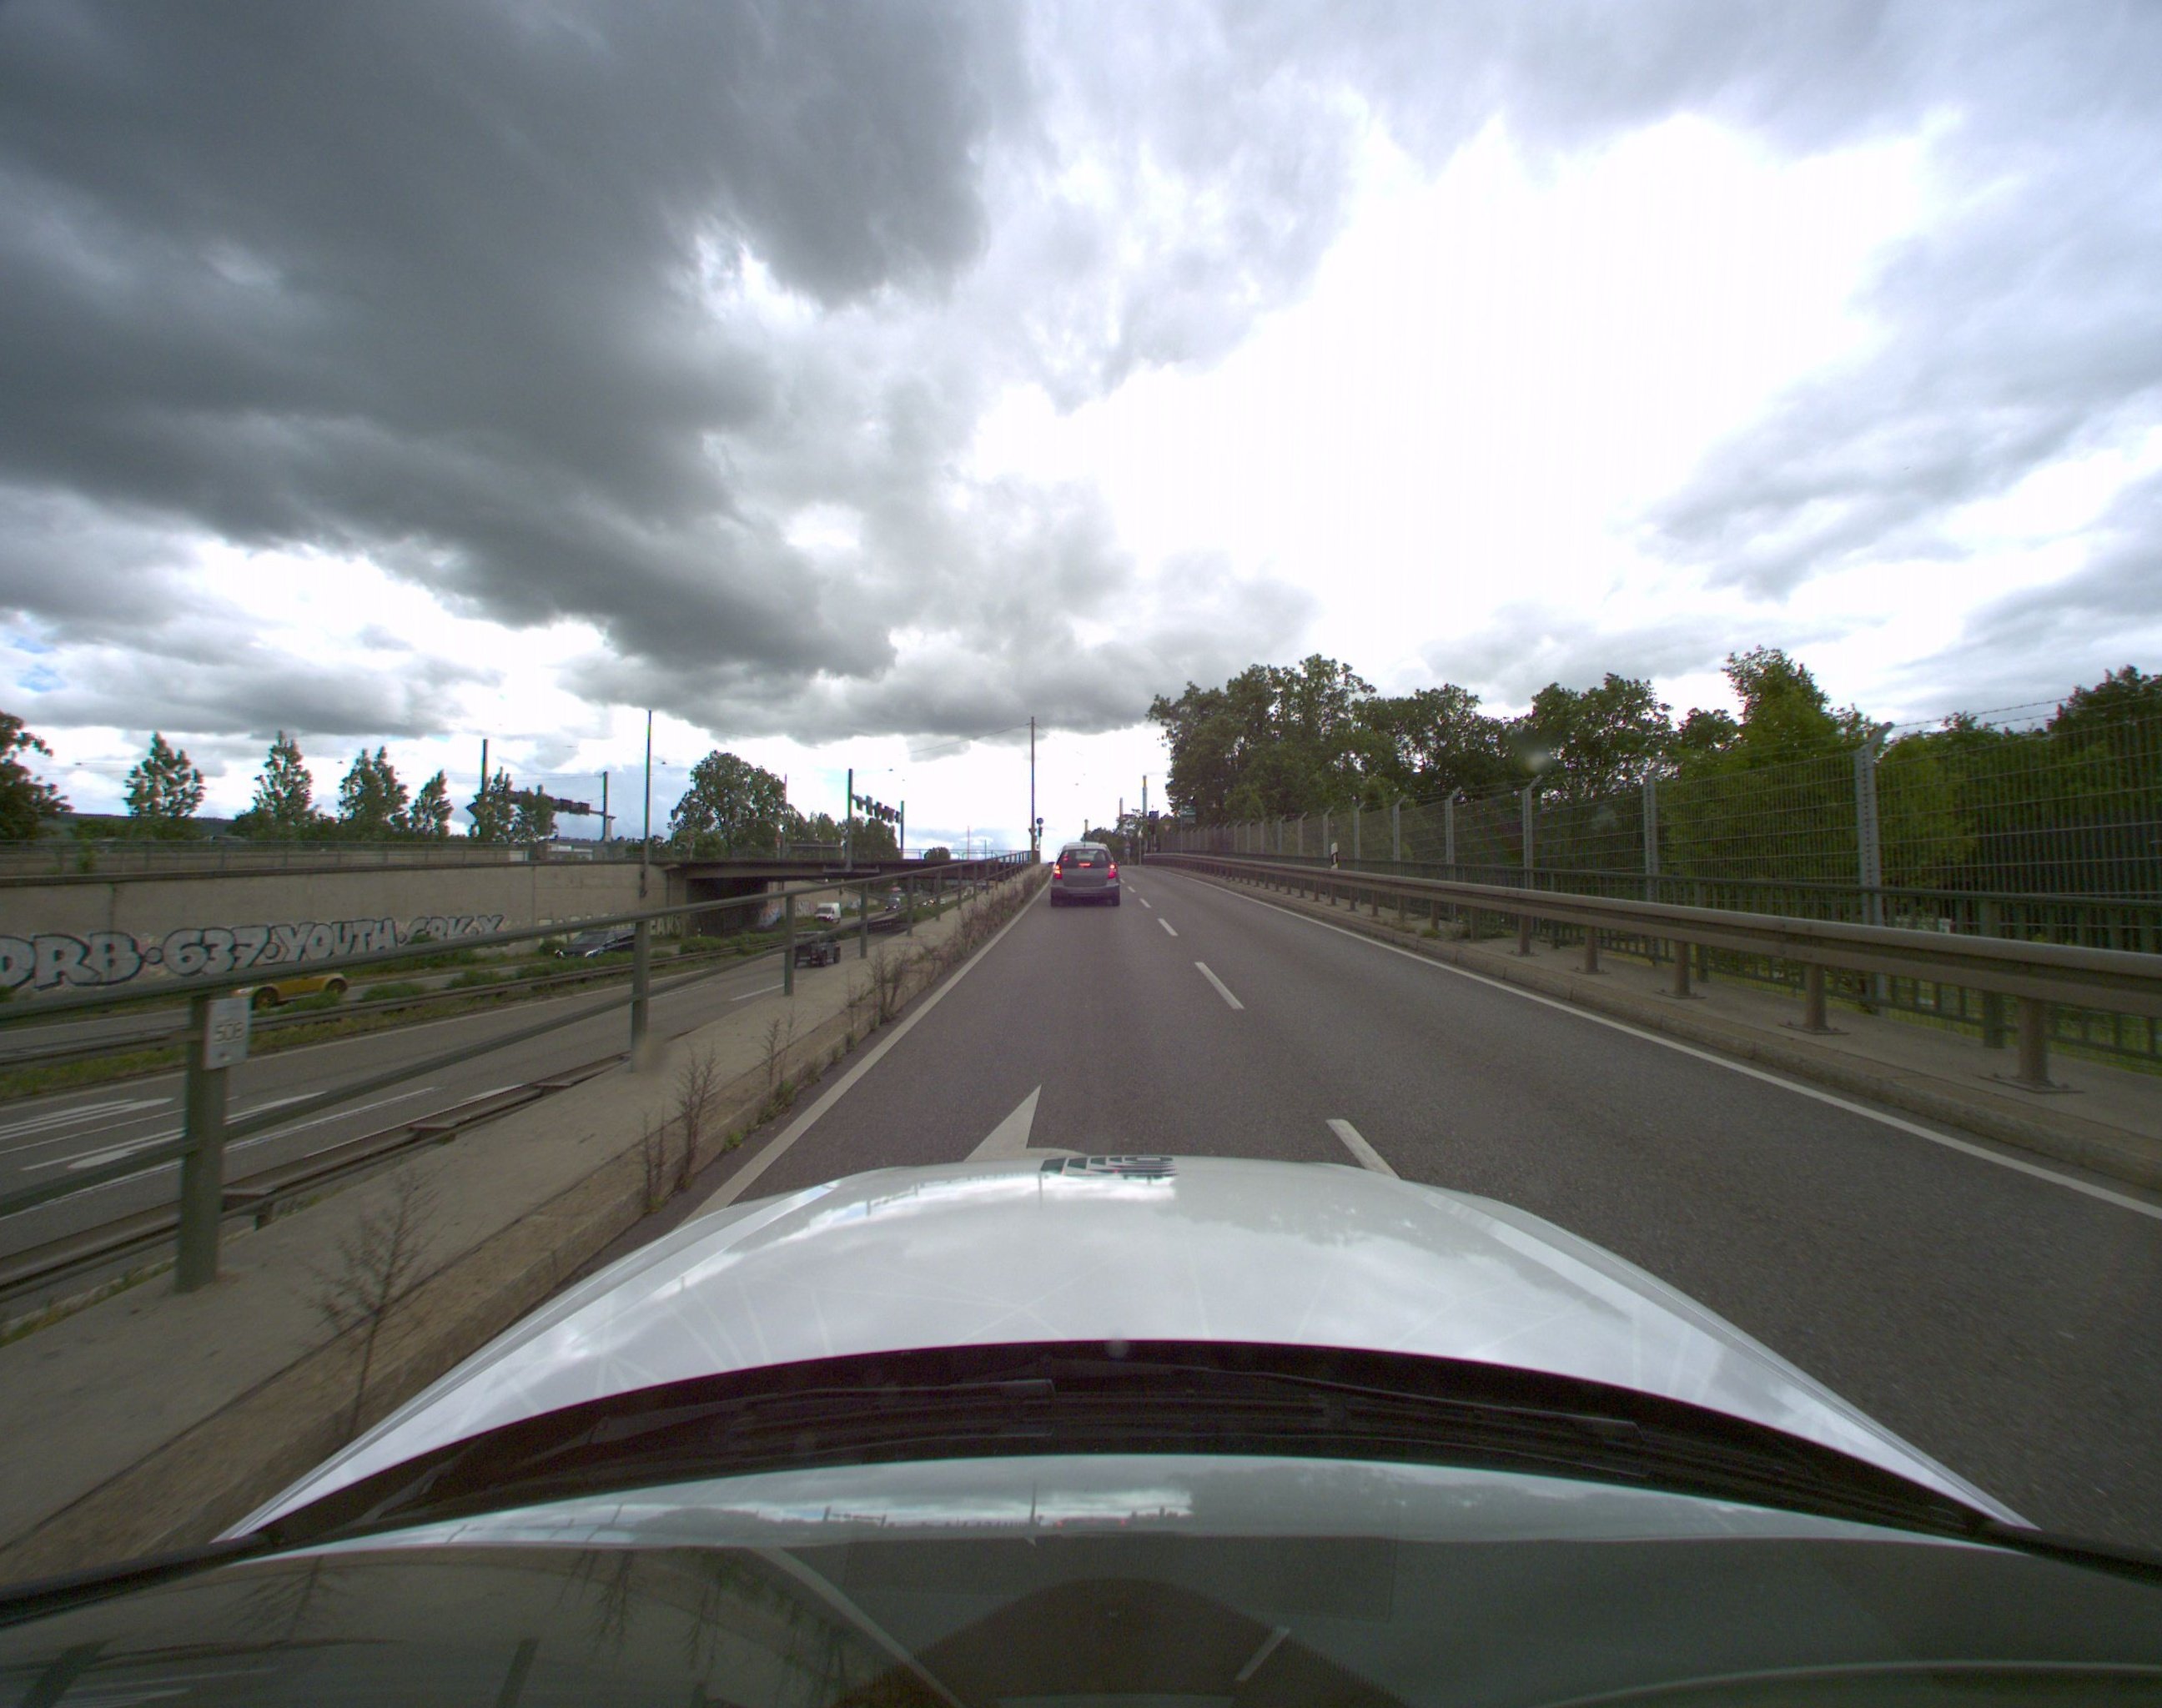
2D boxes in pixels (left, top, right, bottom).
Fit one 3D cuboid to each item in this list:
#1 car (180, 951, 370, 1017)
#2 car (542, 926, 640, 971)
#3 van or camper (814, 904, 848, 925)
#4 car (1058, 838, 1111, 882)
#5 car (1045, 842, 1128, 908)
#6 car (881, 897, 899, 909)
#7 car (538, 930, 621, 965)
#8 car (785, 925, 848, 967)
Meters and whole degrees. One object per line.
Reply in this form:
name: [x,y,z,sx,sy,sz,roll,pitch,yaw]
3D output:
car: [-28.358,4.519,28.936,1.987,1.720,4.702,-2,-2,0]
car: [-25.645,4.916,42.913,2.086,1.989,5.112,-2,-3,-1]
van or camper: [-30.127,7.290,98.523,2.176,2.457,6.344,0,-3,-1]
car: [0.142,0.200,32.961,1.987,1.603,4.001,-1,2,0]
car: [0.238,0.478,21.786,1.740,1.580,4.093,0,1,7]
car: [-35.302,9.087,150.693,2.287,2.155,6.168,-1,-3,-6]
car: [-29.313,5.416,47.806,1.988,1.692,4.699,-1,-3,-1]
car: [-12.998,4.505,40.250,1.675,1.736,3.998,-2,-3,1]
